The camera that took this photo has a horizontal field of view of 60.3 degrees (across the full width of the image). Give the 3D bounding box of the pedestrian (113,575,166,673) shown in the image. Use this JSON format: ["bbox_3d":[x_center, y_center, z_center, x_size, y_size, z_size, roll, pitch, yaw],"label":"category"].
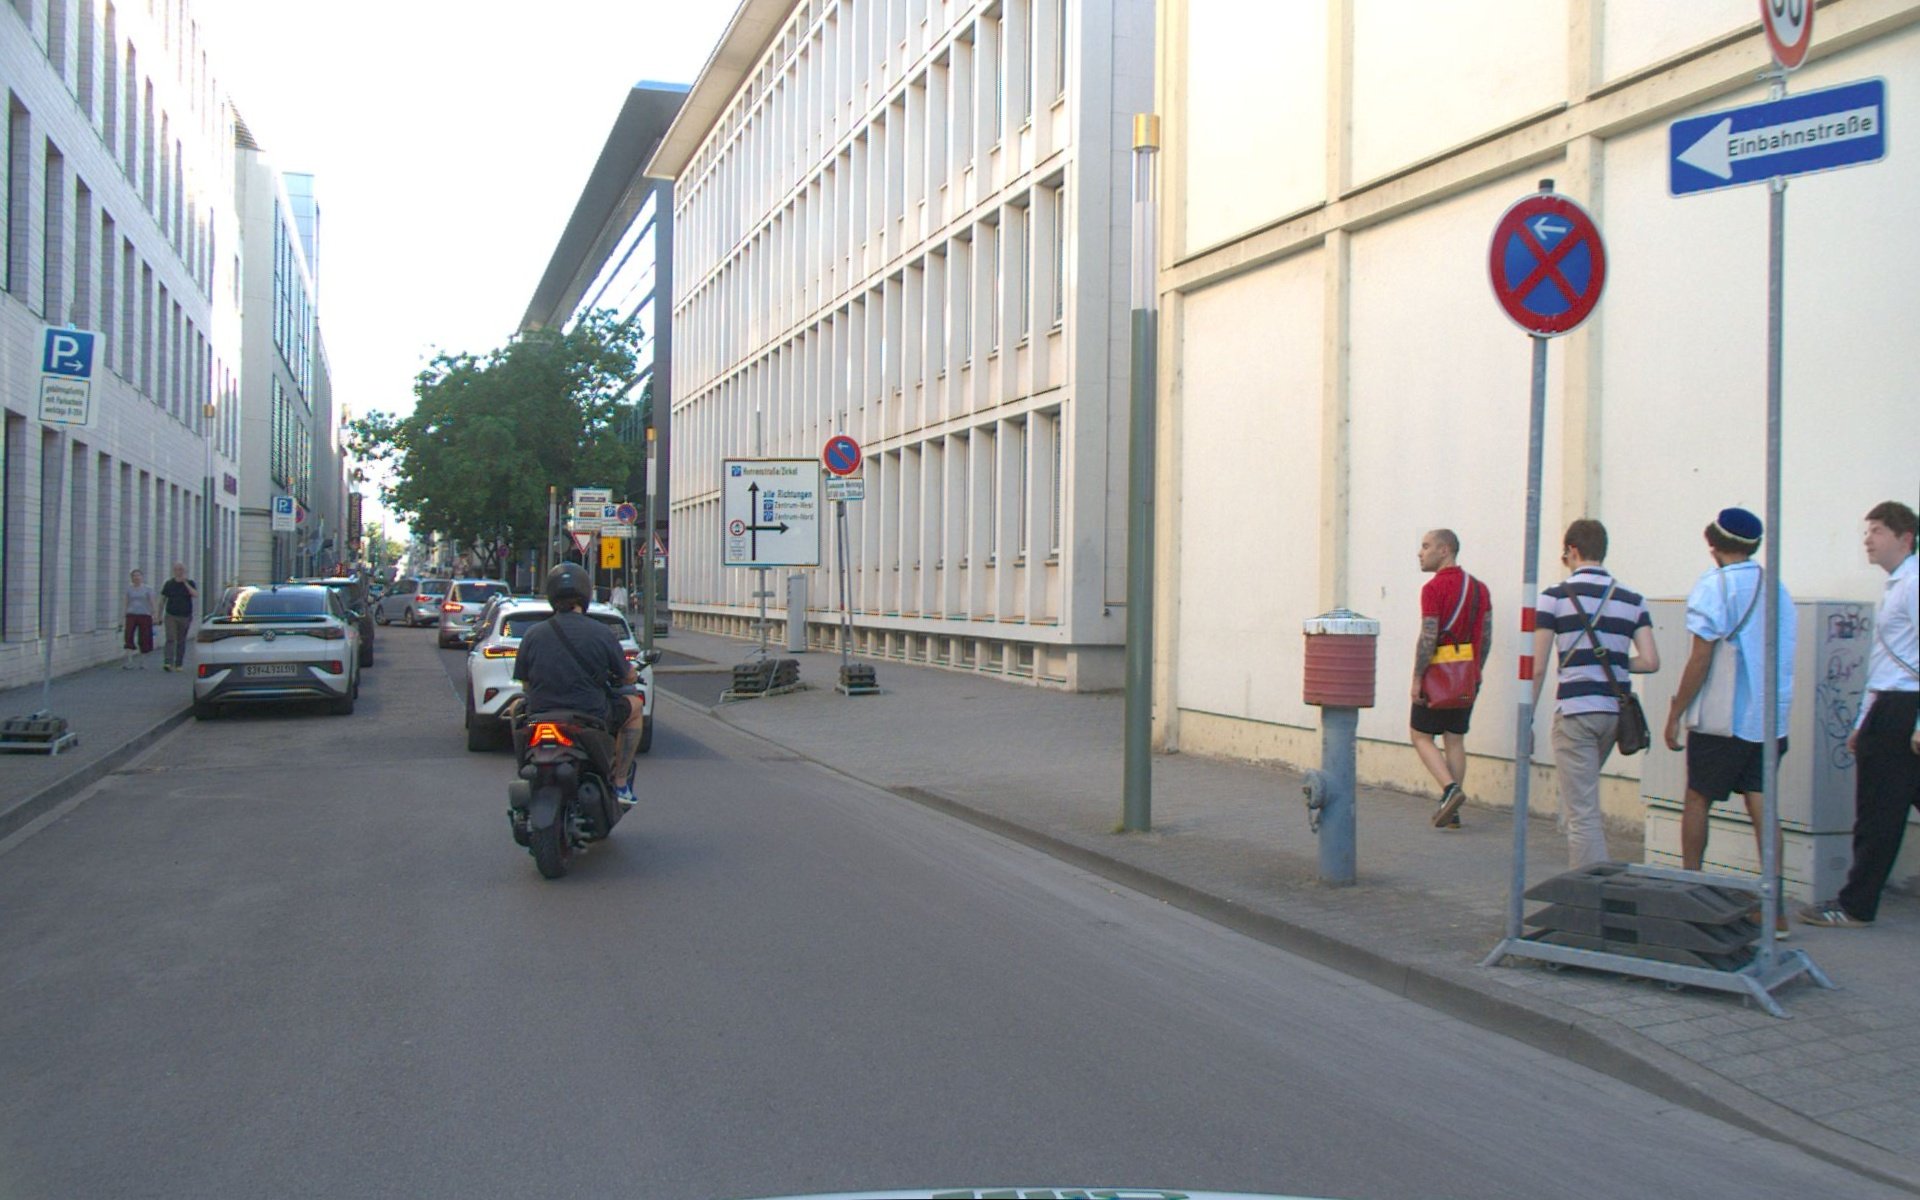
[{"bbox_3d":[-14.047,0.393,28.321,0.694,1.642,0.856,0,0,-19],"label":"pedestrian"}]

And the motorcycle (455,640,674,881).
[{"bbox_3d":[-2.295,0.871,9.960,0.888,1.204,2.576,0,0,-5],"label":"motorcycle"}]

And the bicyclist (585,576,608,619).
[{"bbox_3d":[-14.658,-0.110,66.622,0.731,1.736,0.737,0,0,2],"label":"bicyclist"}]

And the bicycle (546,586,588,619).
[{"bbox_3d":[-15.486,0.085,65.155,1.531,1.271,0.552,0,0,2],"label":"bicycle"}]

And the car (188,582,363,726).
[{"bbox_3d":[-8.776,0.603,21.506,1.783,1.634,4.244,-1,1,-19],"label":"car"}]

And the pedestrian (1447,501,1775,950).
[{"bbox_3d":[2.913,0.505,7.509,0.703,1.833,1.240,-3,1,-19],"label":"pedestrian"}]

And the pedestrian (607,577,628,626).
[{"bbox_3d":[-11.680,0.049,56.367,0.632,1.629,0.617,0,0,-17],"label":"pedestrian"}]

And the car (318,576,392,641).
[{"bbox_3d":[-16.238,0.191,44.504,1.750,1.634,3.496,-1,1,-19],"label":"car"}]

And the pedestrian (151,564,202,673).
[{"bbox_3d":[-13.262,0.307,28.018,0.694,1.817,0.723,0,0,-19],"label":"pedestrian"}]

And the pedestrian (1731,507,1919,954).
[{"bbox_3d":[4.026,0.509,7.221,0.698,1.808,0.936,-3,1,-19],"label":"pedestrian"}]

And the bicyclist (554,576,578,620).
[{"bbox_3d":[-15.534,-0.077,65.194,0.731,1.736,0.737,0,0,2],"label":"bicyclist"}]

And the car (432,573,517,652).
[{"bbox_3d":[-12.221,0.270,41.510,1.895,1.889,3.978,0,1,-19],"label":"car"}]

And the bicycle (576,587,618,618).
[{"bbox_3d":[-14.622,0.098,66.627,1.531,1.271,0.552,0,0,2],"label":"bicycle"}]

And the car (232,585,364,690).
[{"bbox_3d":[-10.703,0.545,26.937,1.783,1.554,3.496,-1,1,-19],"label":"car"}]

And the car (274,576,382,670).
[{"bbox_3d":[-12.194,0.397,32.084,1.783,1.674,3.496,-1,1,-19],"label":"car"}]

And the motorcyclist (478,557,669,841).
[{"bbox_3d":[-2.275,0.556,9.905,0.935,1.587,1.238,0,-1,-5],"label":"motorcyclist"}]

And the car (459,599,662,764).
[{"bbox_3d":[-4.291,0.786,17.636,1.828,1.498,3.984,2,0,-15],"label":"car"}]

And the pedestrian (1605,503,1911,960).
[{"bbox_3d":[3.427,0.514,7.163,0.698,1.808,0.936,-3,1,-19],"label":"pedestrian"}]

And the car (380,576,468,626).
[{"bbox_3d":[-18.143,0.038,55.925,1.881,1.624,3.954,0,0,-33],"label":"car"}]

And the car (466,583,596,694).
[{"bbox_3d":[-6.802,0.531,25.972,1.746,1.577,4.086,0,1,-18],"label":"car"}]

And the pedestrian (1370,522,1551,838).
[{"bbox_3d":[3.074,0.462,10.190,0.698,1.833,0.771,-3,1,-19],"label":"pedestrian"}]
